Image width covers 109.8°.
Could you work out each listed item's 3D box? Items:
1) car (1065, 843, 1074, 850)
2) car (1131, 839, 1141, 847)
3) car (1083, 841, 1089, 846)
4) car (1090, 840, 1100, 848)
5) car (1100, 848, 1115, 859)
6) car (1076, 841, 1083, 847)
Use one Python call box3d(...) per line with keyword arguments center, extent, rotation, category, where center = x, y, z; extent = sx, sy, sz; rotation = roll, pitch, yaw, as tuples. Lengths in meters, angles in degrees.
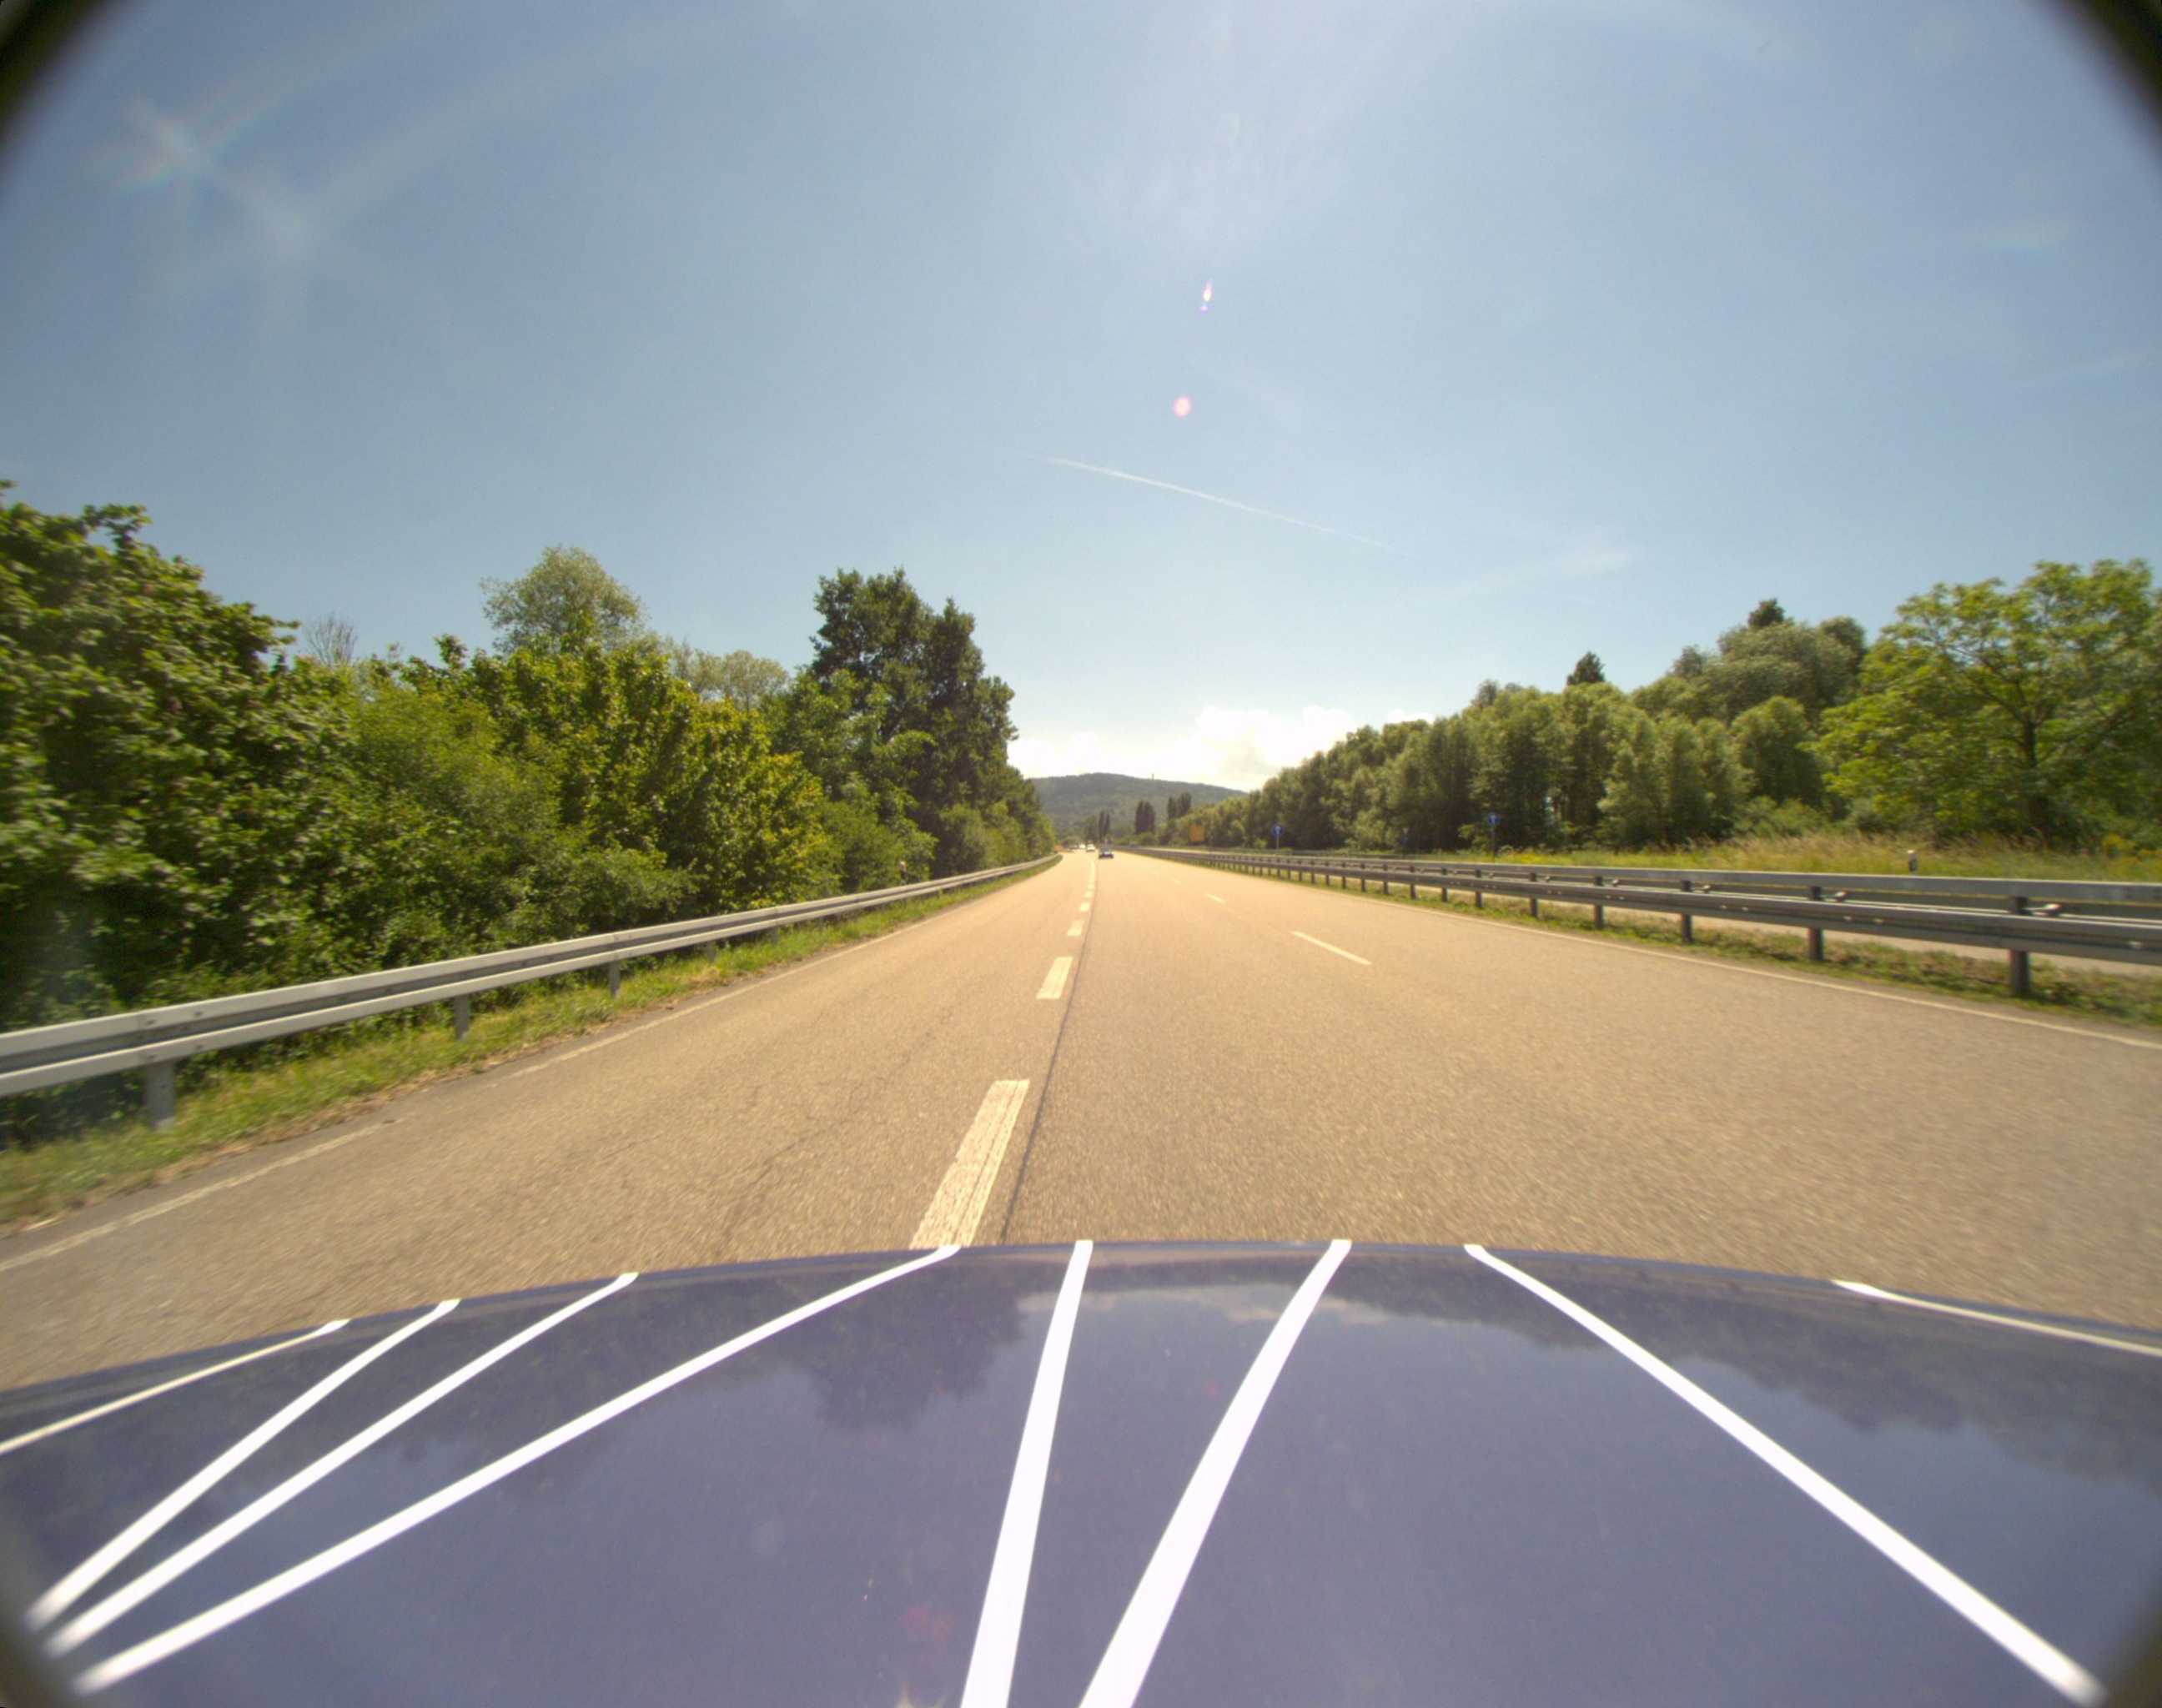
box3d(center=(-2.424, -1.574, 164.250), extent=(1.658, 1.536, 3.691), rotation=(-2, 1, 4), category="car")
box3d(center=(12.152, -2.430, 169.142), extent=(1.867, 1.820, 4.659), rotation=(-2, 1, 0), category="car")
box3d(center=(1.500, -3.041, 224.622), extent=(1.658, 1.536, 3.691), rotation=(-2, 1, 4), category="car")
box3d(center=(2.919, -2.073, 160.105), extent=(1.998, 1.630, 4.000), rotation=(-2, 0, 2), category="car")
box3d(center=(3.505, -0.034, 102.467), extent=(1.908, 1.368, 3.890), rotation=(-2, 1, 1), category="car")
box3d(center=(-0.452, -2.743, 211.233), extent=(1.658, 1.536, 3.691), rotation=(-2, 1, 4), category="car")
